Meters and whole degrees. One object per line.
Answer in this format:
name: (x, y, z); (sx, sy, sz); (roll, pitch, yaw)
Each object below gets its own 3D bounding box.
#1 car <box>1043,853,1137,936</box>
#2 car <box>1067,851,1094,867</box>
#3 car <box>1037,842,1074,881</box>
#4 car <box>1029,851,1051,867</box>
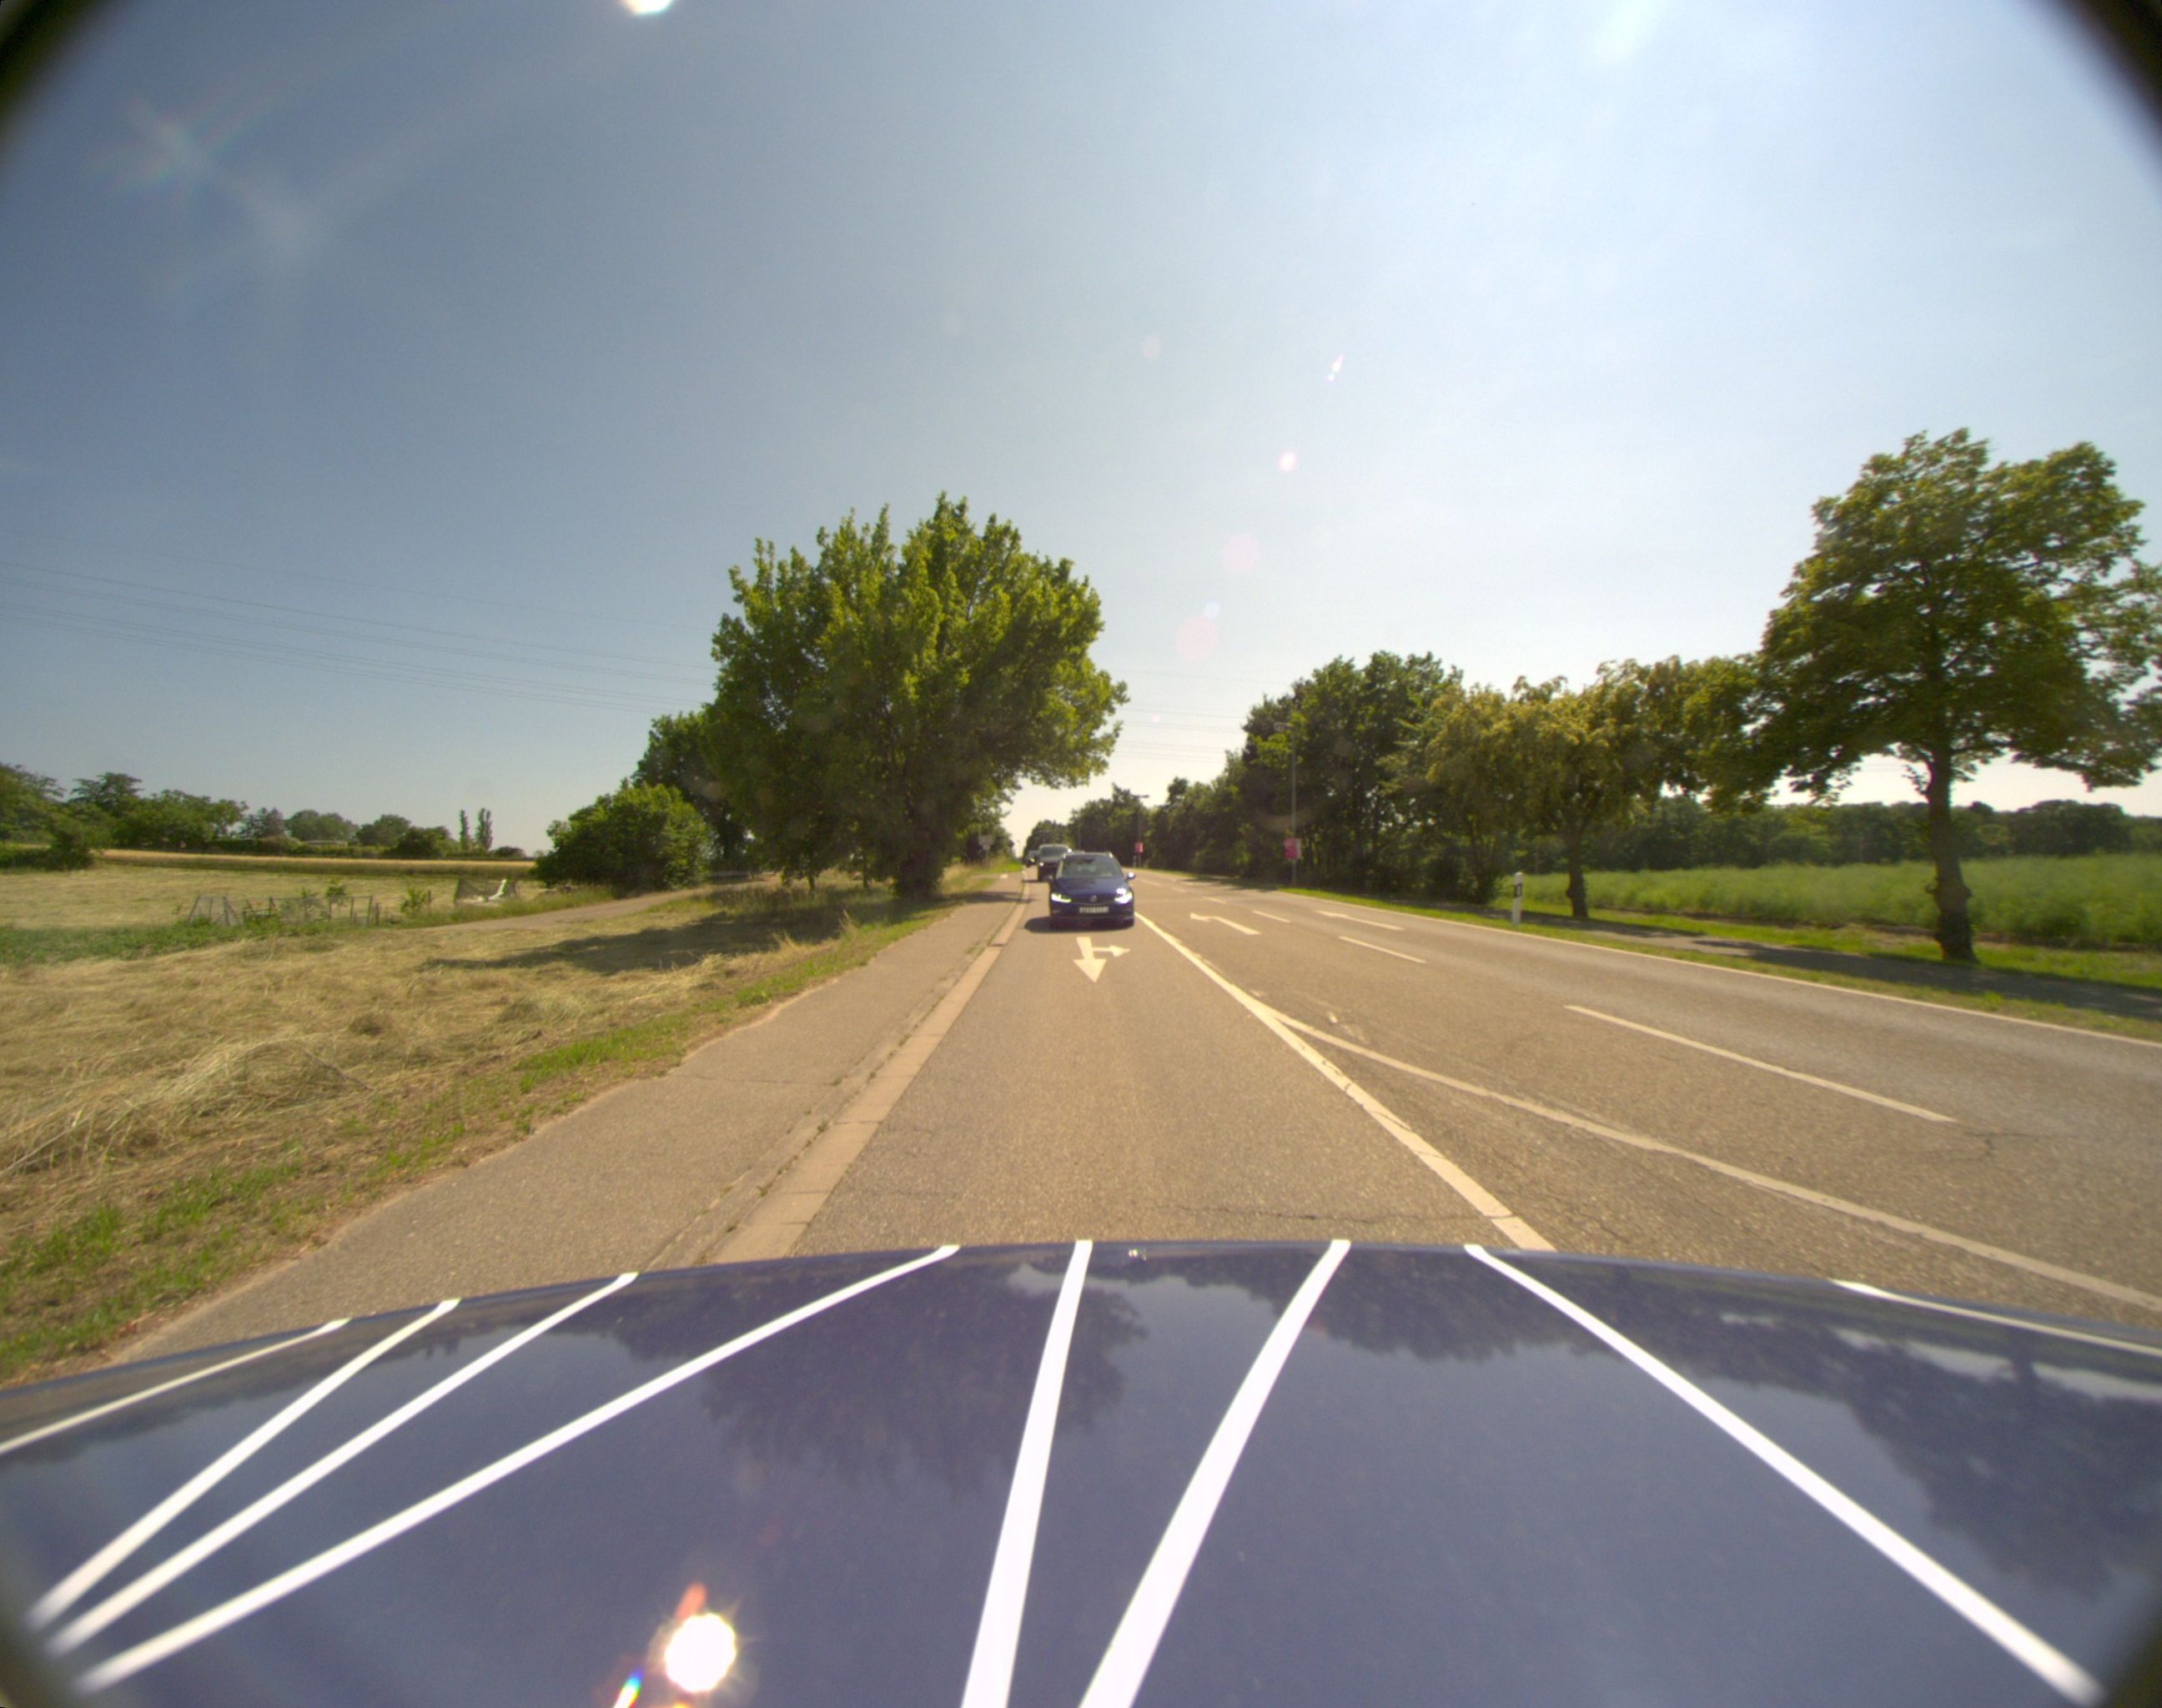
car: (0.070, 0.801, 17.296); (1.765, 1.520, 4.420); (-2, 1, -4)
car: (-0.080, 0.538, 77.676); (1.883, 1.562, 4.468); (-1, -2, -12)
car: (-1.462, 0.405, 41.685); (1.765, 1.953, 4.260); (-2, 0, -4)
car: (-4.084, 0.528, 75.222); (1.766, 1.530, 3.682); (-1, 0, -9)
